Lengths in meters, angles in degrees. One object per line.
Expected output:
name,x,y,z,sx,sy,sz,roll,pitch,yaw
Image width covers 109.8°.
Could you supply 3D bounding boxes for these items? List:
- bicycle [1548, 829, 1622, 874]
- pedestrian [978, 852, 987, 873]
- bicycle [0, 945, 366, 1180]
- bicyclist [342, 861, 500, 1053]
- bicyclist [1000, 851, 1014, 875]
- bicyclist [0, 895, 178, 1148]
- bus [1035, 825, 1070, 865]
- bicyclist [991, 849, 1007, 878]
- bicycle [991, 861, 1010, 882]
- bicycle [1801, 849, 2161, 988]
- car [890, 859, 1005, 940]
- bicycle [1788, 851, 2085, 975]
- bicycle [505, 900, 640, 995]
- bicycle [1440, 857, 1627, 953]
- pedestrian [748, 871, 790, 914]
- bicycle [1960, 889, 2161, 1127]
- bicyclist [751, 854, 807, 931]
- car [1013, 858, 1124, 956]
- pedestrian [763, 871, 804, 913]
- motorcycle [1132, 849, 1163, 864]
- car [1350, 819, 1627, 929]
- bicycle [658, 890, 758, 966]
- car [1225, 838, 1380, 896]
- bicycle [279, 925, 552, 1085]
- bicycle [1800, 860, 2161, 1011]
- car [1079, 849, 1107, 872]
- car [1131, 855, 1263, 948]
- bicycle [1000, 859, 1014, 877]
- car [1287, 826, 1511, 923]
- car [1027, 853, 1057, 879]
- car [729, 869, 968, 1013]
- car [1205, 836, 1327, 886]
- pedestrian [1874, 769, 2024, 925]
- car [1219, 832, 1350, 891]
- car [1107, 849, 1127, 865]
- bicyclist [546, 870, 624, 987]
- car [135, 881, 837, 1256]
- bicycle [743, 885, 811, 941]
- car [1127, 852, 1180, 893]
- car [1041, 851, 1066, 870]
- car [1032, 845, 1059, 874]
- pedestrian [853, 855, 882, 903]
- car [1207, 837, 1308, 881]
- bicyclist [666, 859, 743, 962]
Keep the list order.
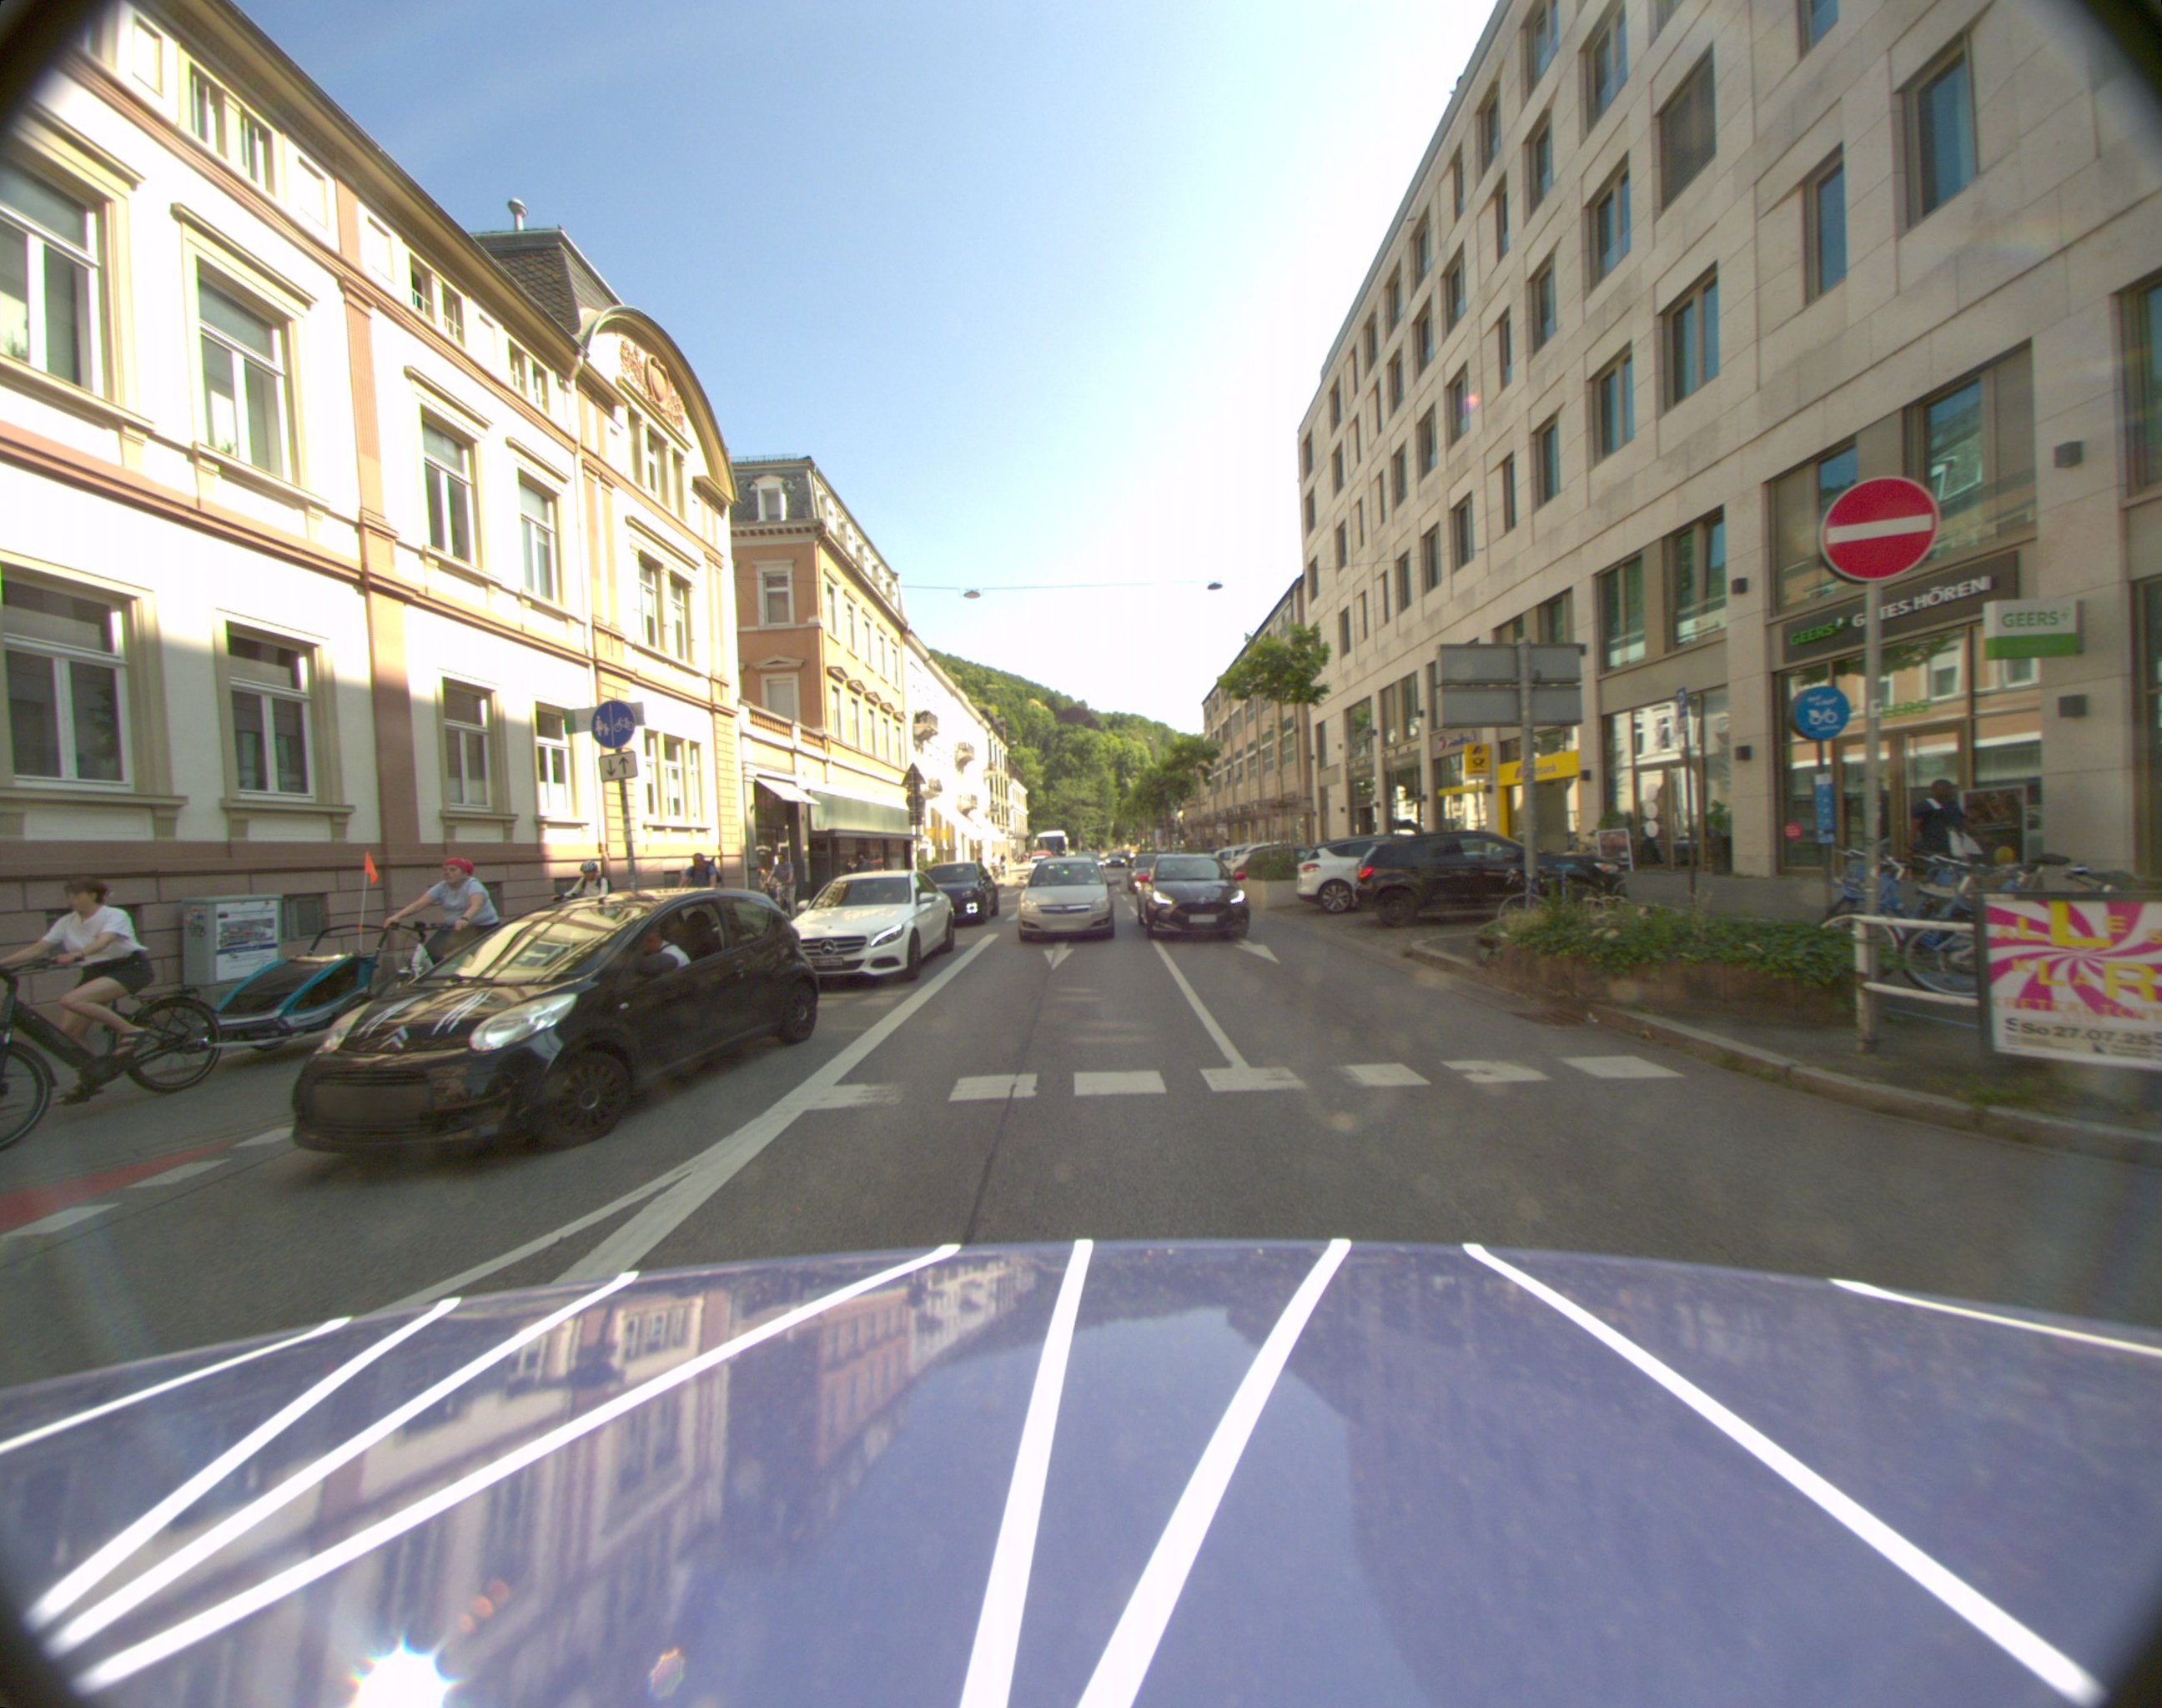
bicycle,13.272,-0.077,20.081,0.497,1.101,2.161,-5,1,1
pedestrian,-7.847,0.702,60.555,0.482,1.659,0.868,-2,1,1
bicycle,-7.061,1.451,5.388,0.750,1.120,3.240,-1,2,3
bicyclist,-6.276,0.939,7.275,0.684,1.707,0.844,-1,1,2
bicyclist,-5.013,0.607,51.573,0.747,1.564,0.844,-2,1,2
bicyclist,-7.078,1.077,5.211,0.747,1.564,0.845,0,-1,2
bus,-2.651,-0.924,74.159,2.924,3.516,12.497,-2,1,-1
bicyclist,-4.863,0.570,45.324,0.747,1.693,1.036,-2,1,2
bicycle,-4.828,1.044,45.614,0.743,1.120,2.573,-1,1,3
bicycle,8.243,0.607,6.928,2.324,1.120,0.563,-4,1,26
car,-3.126,1.000,18.707,1.891,1.483,4.289,-5,1,1
bicycle,8.365,0.600,7.538,1.862,1.120,0.485,-4,0,26
bicycle,-7.292,1.300,11.023,0.607,1.120,1.860,-1,1,3
bicycle,6.107,0.686,10.317,2.145,1.120,0.485,-4,0,3
pedestrian,-9.776,1.199,23.819,1.032,1.308,0.625,-1,1,0
bicycle,6.009,0.789,3.804,0.606,1.166,2.059,-5,2,-44
bicyclist,-7.025,0.886,17.716,0.910,1.707,0.844,-2,2,-3
car,-0.247,0.902,14.922,1.791,1.484,4.367,-3,1,-1
pedestrian,-9.642,1.227,24.625,1.088,1.308,0.625,0,1,0
motorcycle,6.321,0.240,72.861,0.980,1.343,3.095,-3,1,-42
car,7.096,0.356,13.656,4.025,1.593,1.961,-4,2,24
bicycle,-6.541,1.262,13.453,0.664,1.111,1.992,-2,1,3
car,7.056,0.437,24.364,4.308,1.441,1.790,-6,0,35
bicycle,-6.228,1.352,7.316,0.737,1.120,2.034,-1,1,3
bicycle,7.560,0.688,6.400,2.060,1.120,0.563,-4,0,26
car,0.784,0.412,50.896,1.775,1.469,4.107,-1,0,1
car,2.021,0.793,14.411,1.868,1.469,4.107,-1,0,0
bicycle,-5.034,0.964,51.640,0.596,1.120,2.093,-1,2,3
car,6.942,0.428,17.071,4.165,1.627,2.103,-6,1,10
car,-2.638,0.808,52.579,1.799,1.516,4.262,-6,1,-1
car,-3.112,1.078,11.432,1.957,1.417,4.885,-4,1,0
car,7.575,0.276,31.063,4.493,1.424,1.865,-7,0,21
pedestrian,11.264,-0.091,9.898,0.840,1.868,0.844,-6,1,2
car,7.353,0.290,27.561,4.029,1.584,1.822,-7,1,34
car,3.431,0.275,72.120,1.733,1.389,4.106,-3,0,1
bicyclist,-7.327,1.078,11.256,0.516,1.627,0.844,-2,1,2
car,-3.484,1.102,5.464,1.631,1.470,3.733,-3,2,10
bicycle,-7.003,1.330,17.620,0.748,1.111,1.918,-3,0,0
car,2.679,0.653,29.012,1.733,1.389,4.106,-2,1,2
car,-2.246,0.526,63.295,1.868,1.479,4.414,-3,0,-1
car,-2.716,0.416,58.286,1.703,1.901,4.607,-7,0,-1
pedestrian,-8.316,0.961,29.631,0.840,1.781,0.767,-2,1,2
car,7.850,0.196,34.052,3.997,1.519,1.819,-6,3,1
bicyclist,-6.566,0.957,13.289,0.840,1.707,0.844,-2,1,2
